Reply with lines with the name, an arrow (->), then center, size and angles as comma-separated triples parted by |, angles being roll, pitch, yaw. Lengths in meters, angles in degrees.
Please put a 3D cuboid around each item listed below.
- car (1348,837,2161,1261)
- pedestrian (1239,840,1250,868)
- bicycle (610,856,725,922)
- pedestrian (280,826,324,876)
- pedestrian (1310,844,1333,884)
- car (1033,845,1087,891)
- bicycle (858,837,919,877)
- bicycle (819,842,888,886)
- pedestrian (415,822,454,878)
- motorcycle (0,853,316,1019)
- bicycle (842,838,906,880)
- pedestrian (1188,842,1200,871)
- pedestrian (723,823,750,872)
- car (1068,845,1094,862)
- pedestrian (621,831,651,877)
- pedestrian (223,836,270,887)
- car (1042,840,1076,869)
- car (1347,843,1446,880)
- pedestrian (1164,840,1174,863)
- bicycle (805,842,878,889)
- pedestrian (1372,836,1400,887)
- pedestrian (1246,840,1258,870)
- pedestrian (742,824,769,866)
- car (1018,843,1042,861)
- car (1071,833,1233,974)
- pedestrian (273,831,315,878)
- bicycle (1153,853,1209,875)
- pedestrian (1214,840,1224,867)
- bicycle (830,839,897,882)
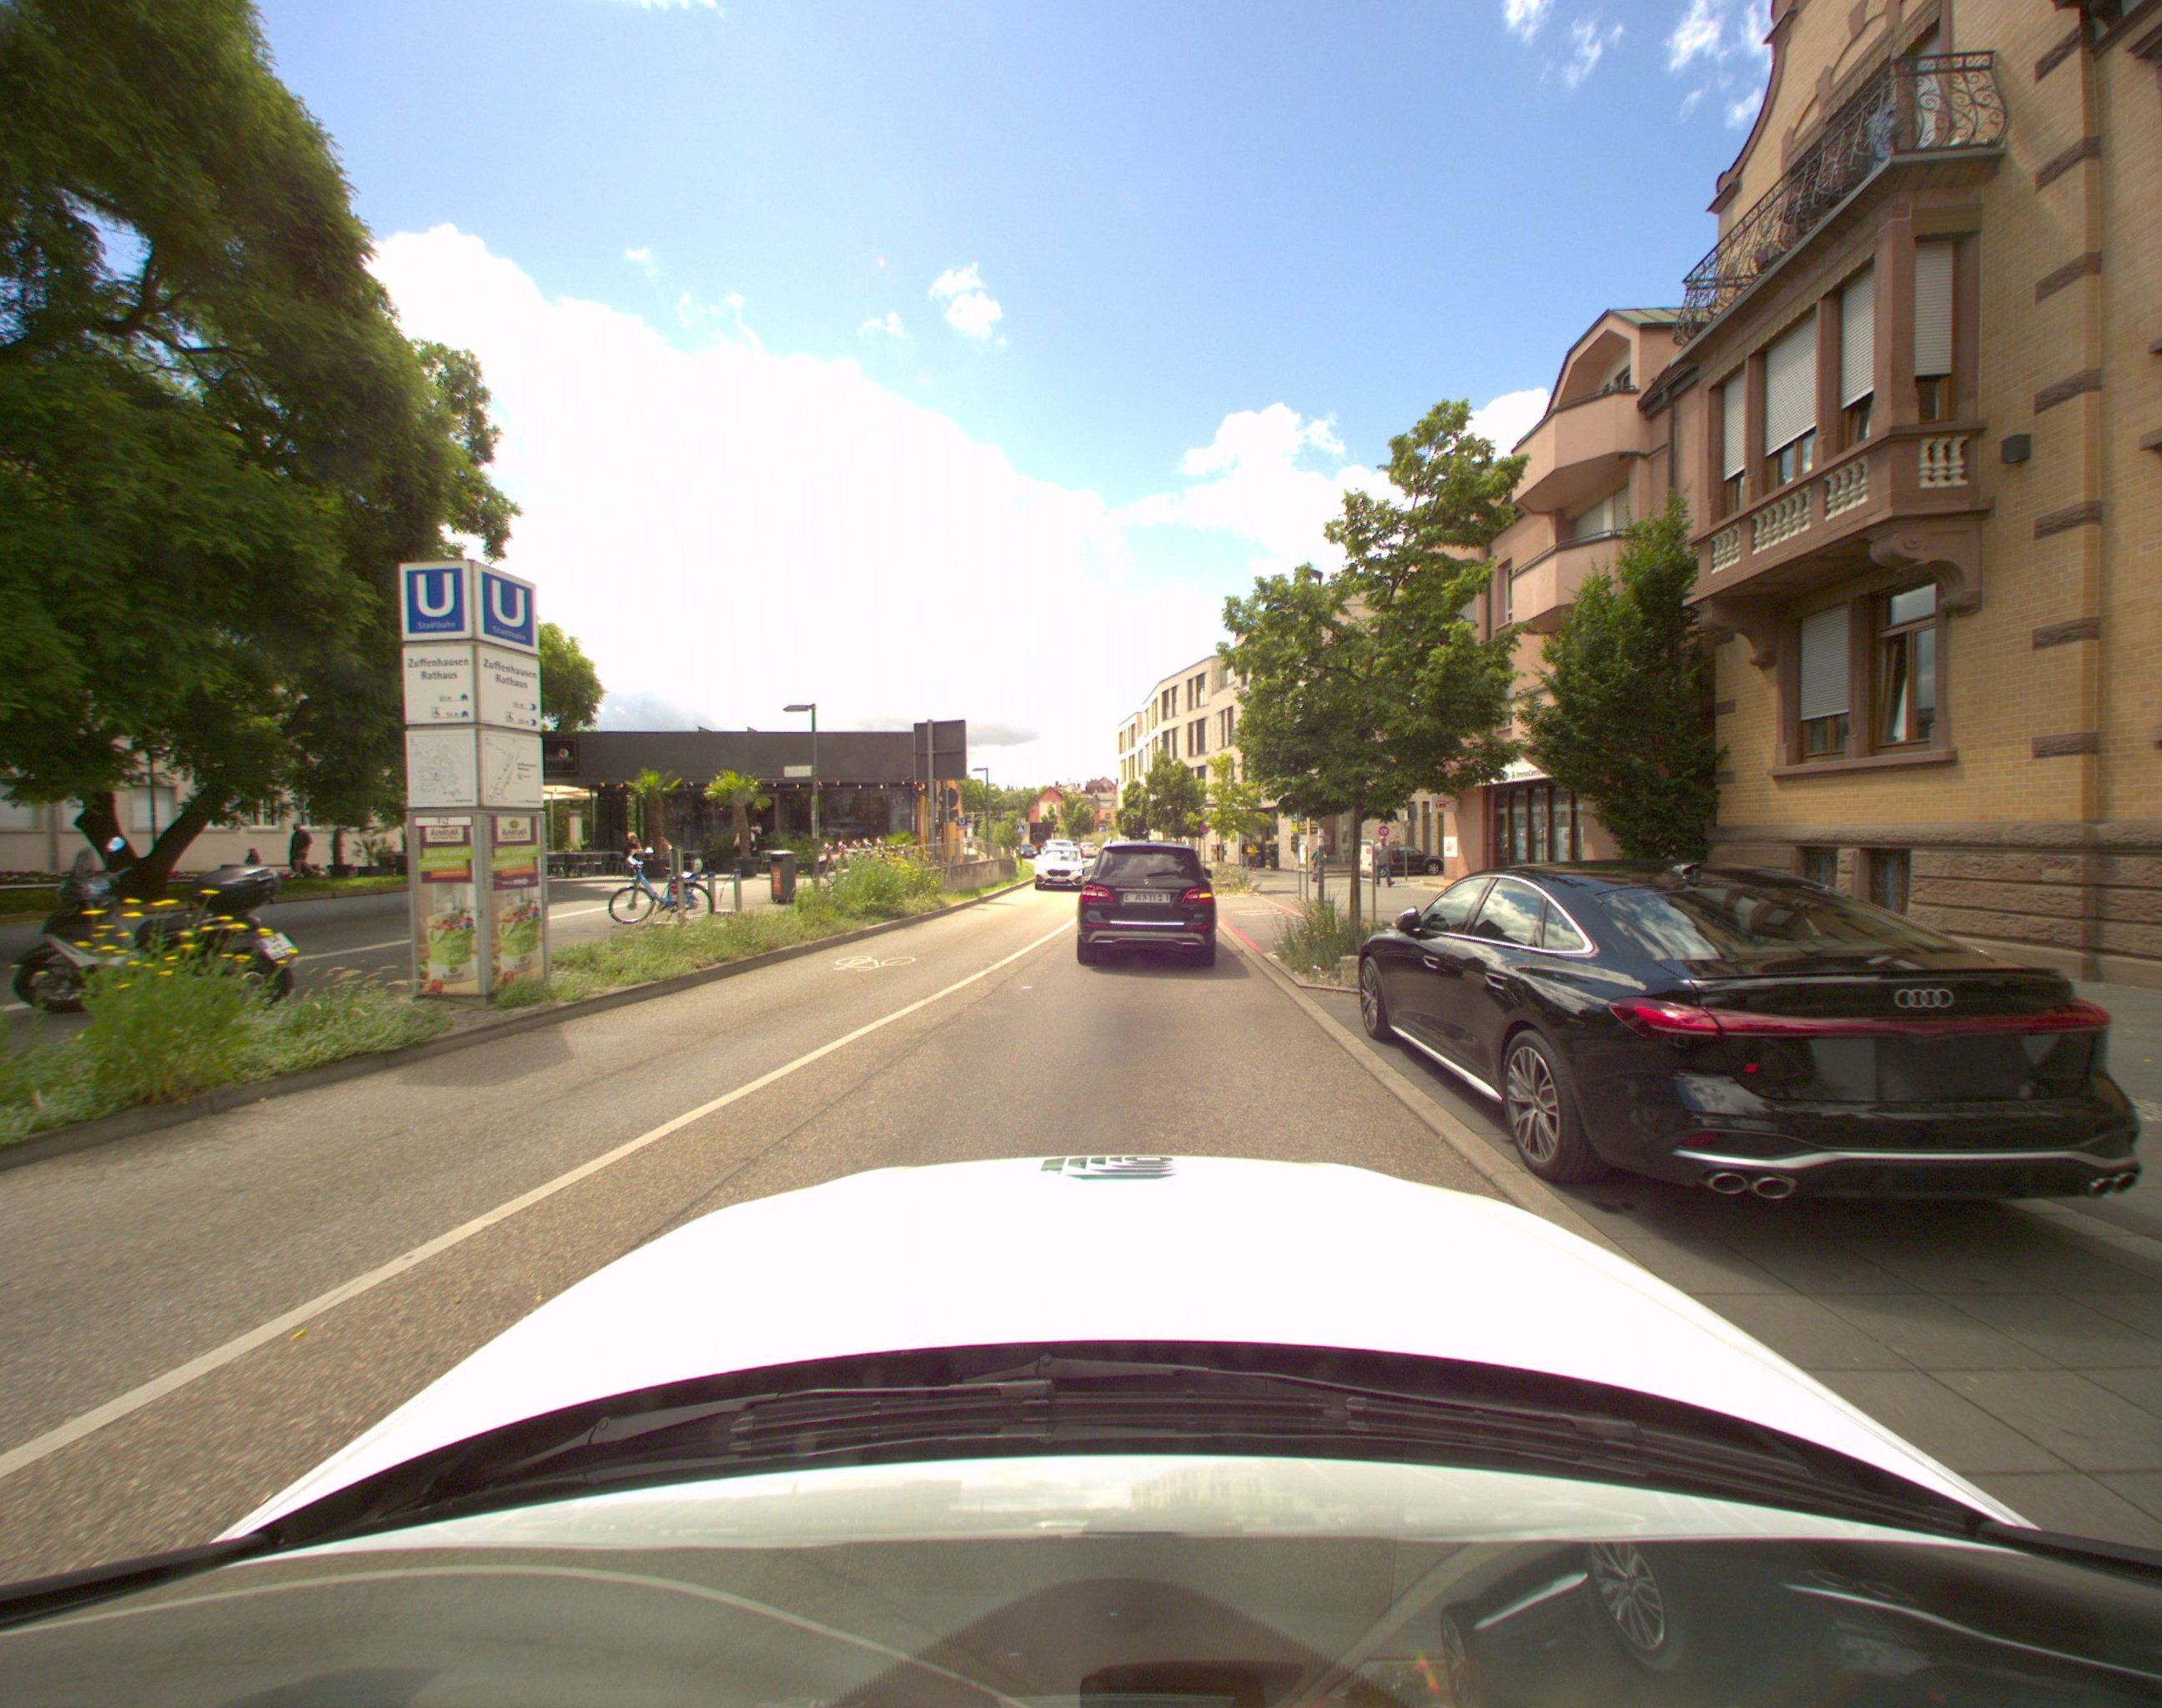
car -> 3.109, 0.669, 4.950 | 1.847, 1.406, 4.381 | -2, 0, 5
pedestrian -> 10.020, -0.012, 49.869 | 0.557, 1.682, 0.568 | -1, 0, 1
bicycle -> -6.511, 0.545, 12.828 | 1.601, 0.997, 0.501 | -1, 0, 9
pedestrian -> -25.852, -0.105, 27.037 | 0.783, 1.627, 0.637 | -2, 0, 2
pedestrian -> 9.547, 0.399, 32.337 | 0.708, 1.563, 0.568 | -1, 0, 0
car -> -0.735, 0.471, 31.253 | 1.834, 1.608, 4.002 | 1, 1, 2
bicycle -> -5.459, 0.072, 23.135 | 1.561, 1.091, 0.579 | -1, 0, 4
bicycle -> -5.709, 0.239, 20.497 | 1.561, 1.069, 0.539 | -1, 0, 4
pedestrian -> -18.714, -0.125, 23.588 | 0.612, 1.577, 0.583 | -2, 0, -1
motorcycle -> -7.711, 0.652, 6.828 | 2.122, 1.289, 0.584 | 0, 3, 5
bicycle -> -5.638, 0.128, 22.212 | 1.561, 1.091, 0.579 | -1, 0, 4
pedestrian -> 6.669, 0.148, 48.253 | 0.659, 1.682, 0.569 | -1, 0, 5
pedestrian -> -11.683, -0.226, 27.647 | 0.608, 1.618, 0.586 | -1, 0, 39
car -> -0.041, -0.038, 70.125 | 1.608, 1.383, 3.825 | -2, 0, -9
pedestrian -> -13.653, -0.009, 24.997 | 0.581, 1.379, 0.614 | -2, 0, -9
pedestrian -> -26.653, 0.242, 26.030 | 0.632, 1.577, 0.789 | -2, 0, 4
car -> -1.535, -0.012, 54.885 | 1.839, 1.858, 4.486 | 1, 1, -7
car -> 14.771, 0.334, 38.262 | 3.971, 1.566, 1.848 | 1, 0, 2
pedestrian -> 6.614, -0.194, 61.054 | 0.560, 1.682, 0.565 | -1, 0, -18
bicycle -> -5.779, 0.269, 19.708 | 1.561, 1.091, 0.579 | -1, 0, 4
pedestrian -> 9.960, 0.244, 26.588 | 0.629, 1.626, 0.700 | -1, 0, 1
pedestrian -> 9.845, 0.054, 46.869 | 0.557, 1.691, 0.639 | -1, 0, 1
pedestrian -> -11.414, -0.311, 28.561 | 0.577, 1.463, 0.618 | -2, 0, 12
car -> -4.936, -0.230, 78.817 | 1.841, 1.608, 3.986 | 1, 1, -10
car -> 1.017, 0.633, 12.636 | 2.019, 1.727, 4.436 | 2, 0, 3
pedestrian -> -26.690, 0.016, 27.629 | 0.783, 1.577, 0.637 | -2, 0, 2
bicycle -> 5.554, 0.557, 45.364 | 3.050, 1.146, 0.709 | -2, 0, -1
pedestrian -> 8.847, -0.023, 52.272 | 0.557, 1.682, 0.568 | -1, 0, 1
bicycle -> -5.698, 0.173, 21.329 | 1.561, 1.091, 0.579 | -1, 0, 4
